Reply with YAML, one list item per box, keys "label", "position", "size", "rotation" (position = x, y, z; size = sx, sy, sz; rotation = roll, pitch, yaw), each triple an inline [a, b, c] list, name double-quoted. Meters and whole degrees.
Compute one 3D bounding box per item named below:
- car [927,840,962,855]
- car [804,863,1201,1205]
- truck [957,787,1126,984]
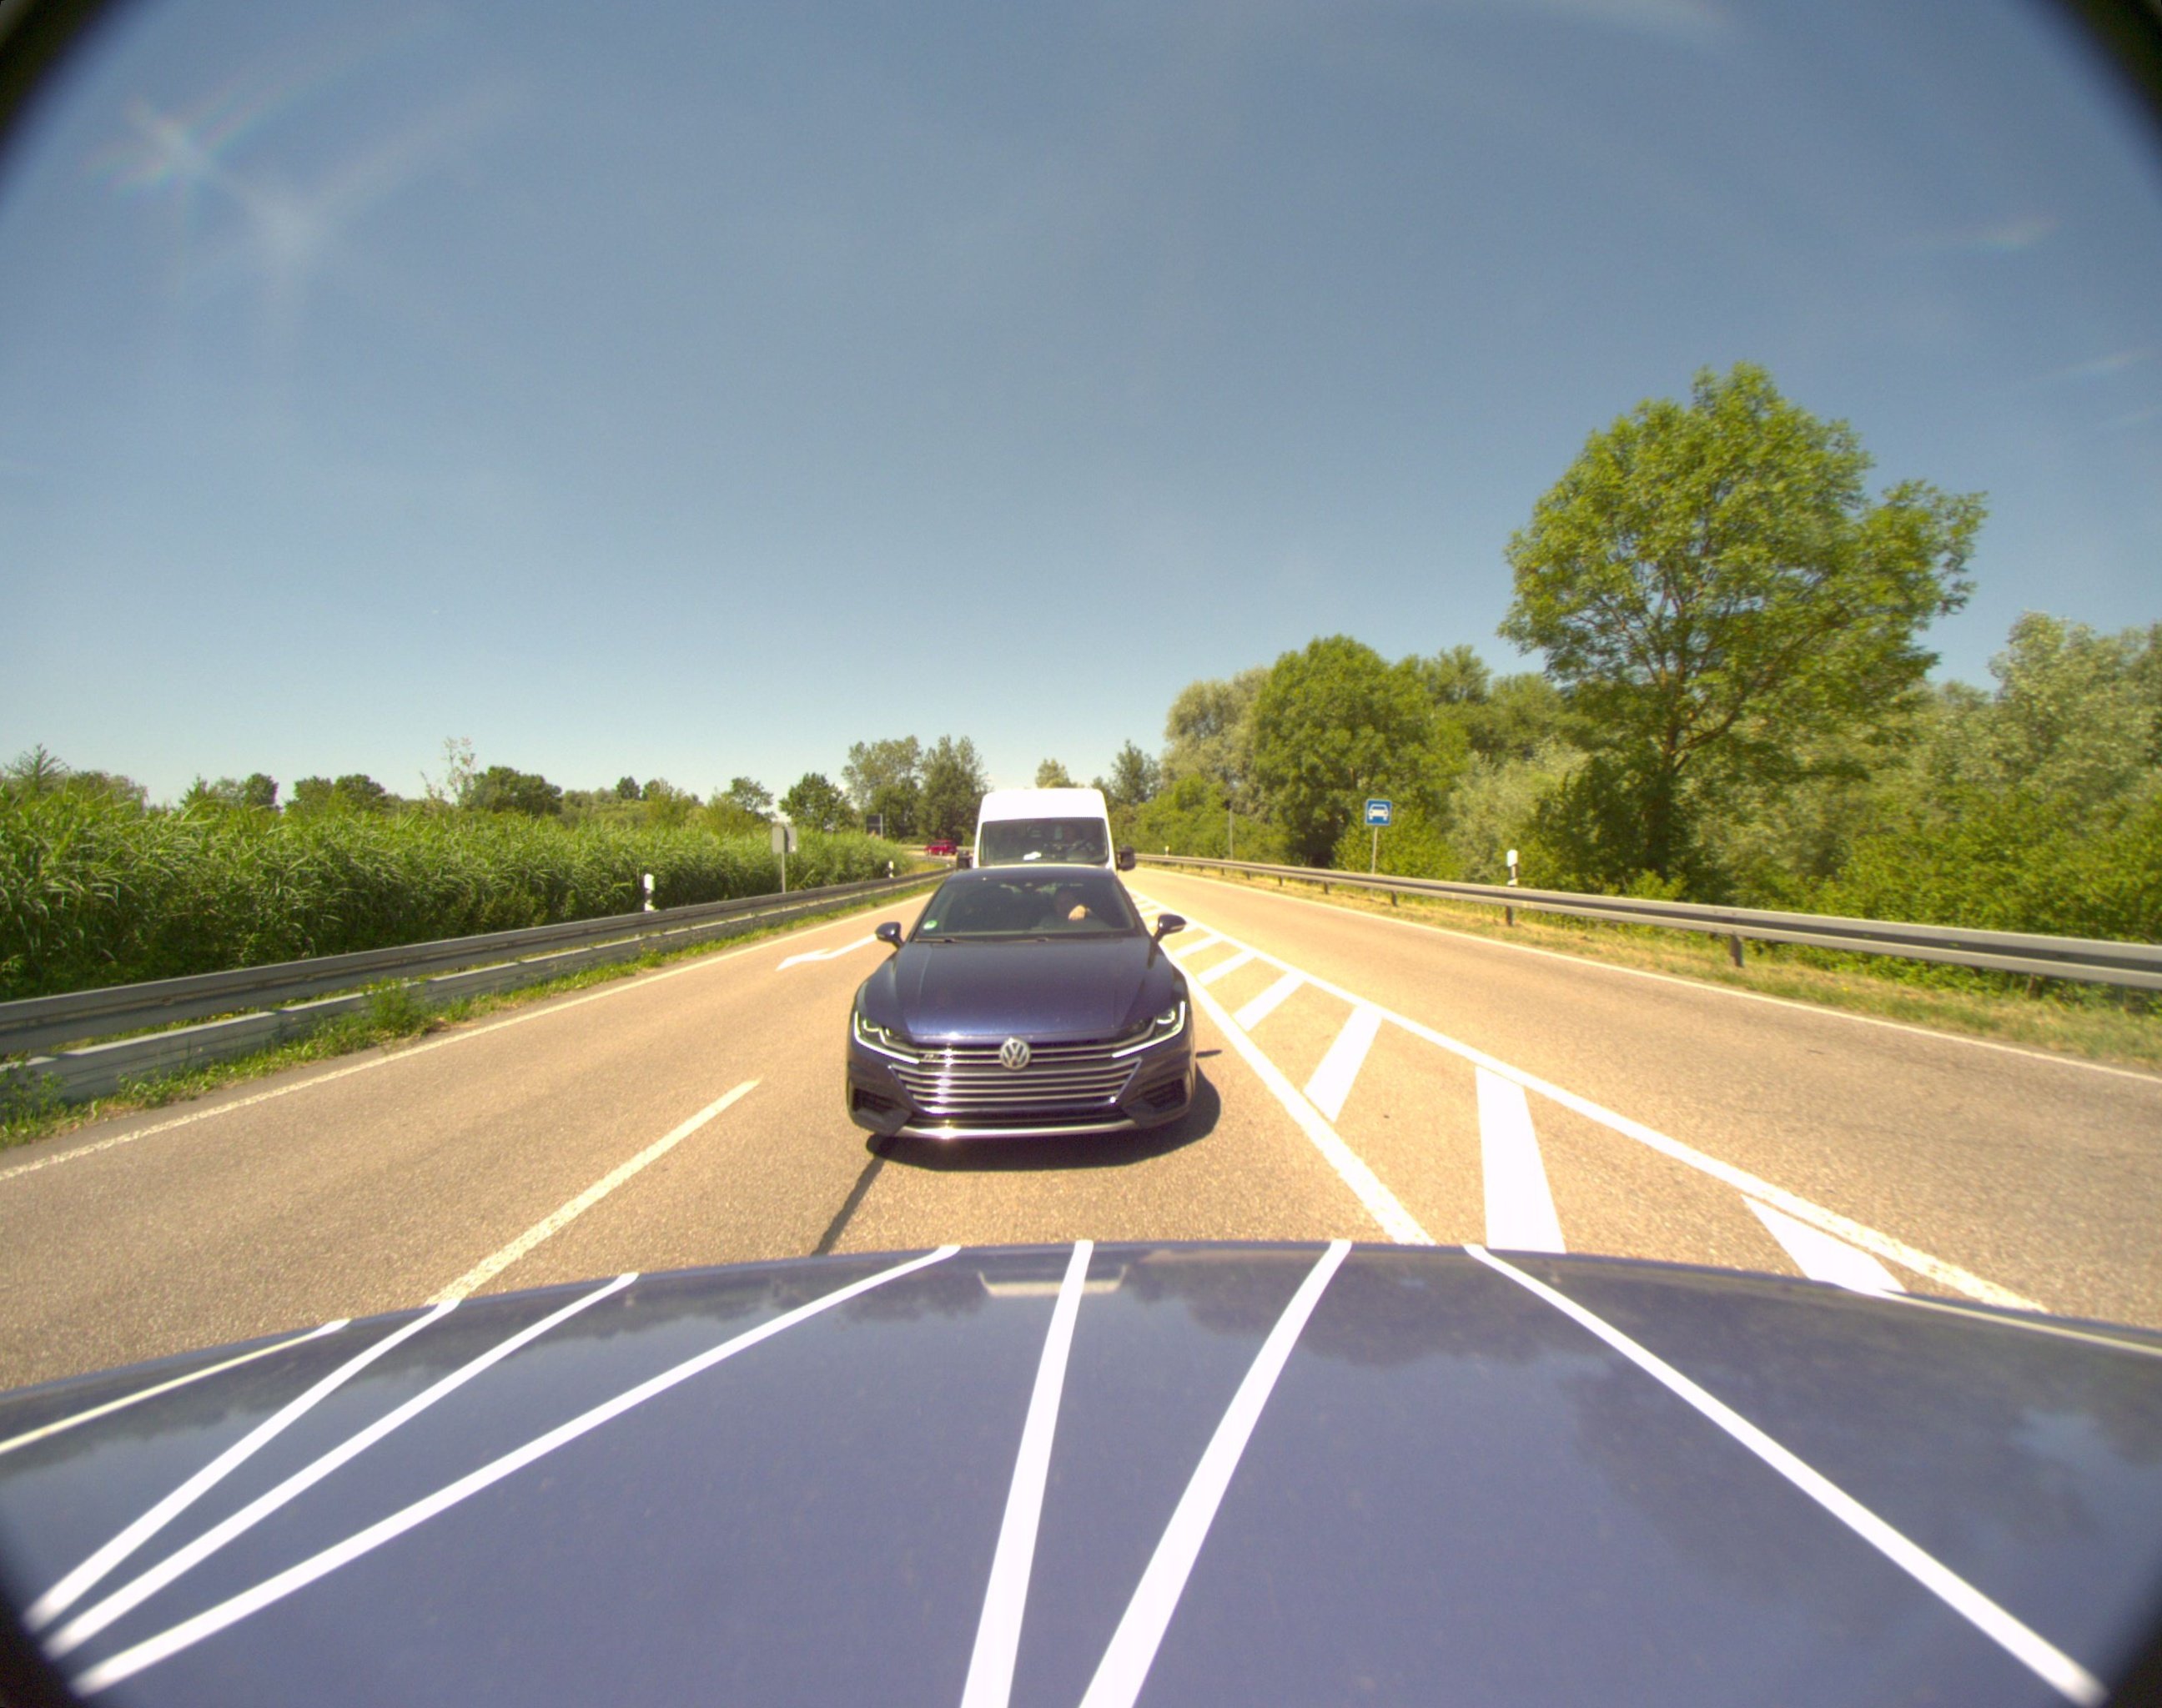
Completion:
- label: "car"
  position: [-14.982, -0.727, 83.317]
  size: [1.746, 1.676, 4.196]
  rotation: [-1, 1, -44]
- label: "car"
  position: [-0.341, 0.875, 5.765]
  size: [1.819, 1.454, 4.415]
  rotation: [-2, 1, 1]
- label: "truck"
  position: [-0.660, 0.354, 12.299]
  size: [2.011, 2.365, 5.909]
  rotation: [-2, 1, -4]
